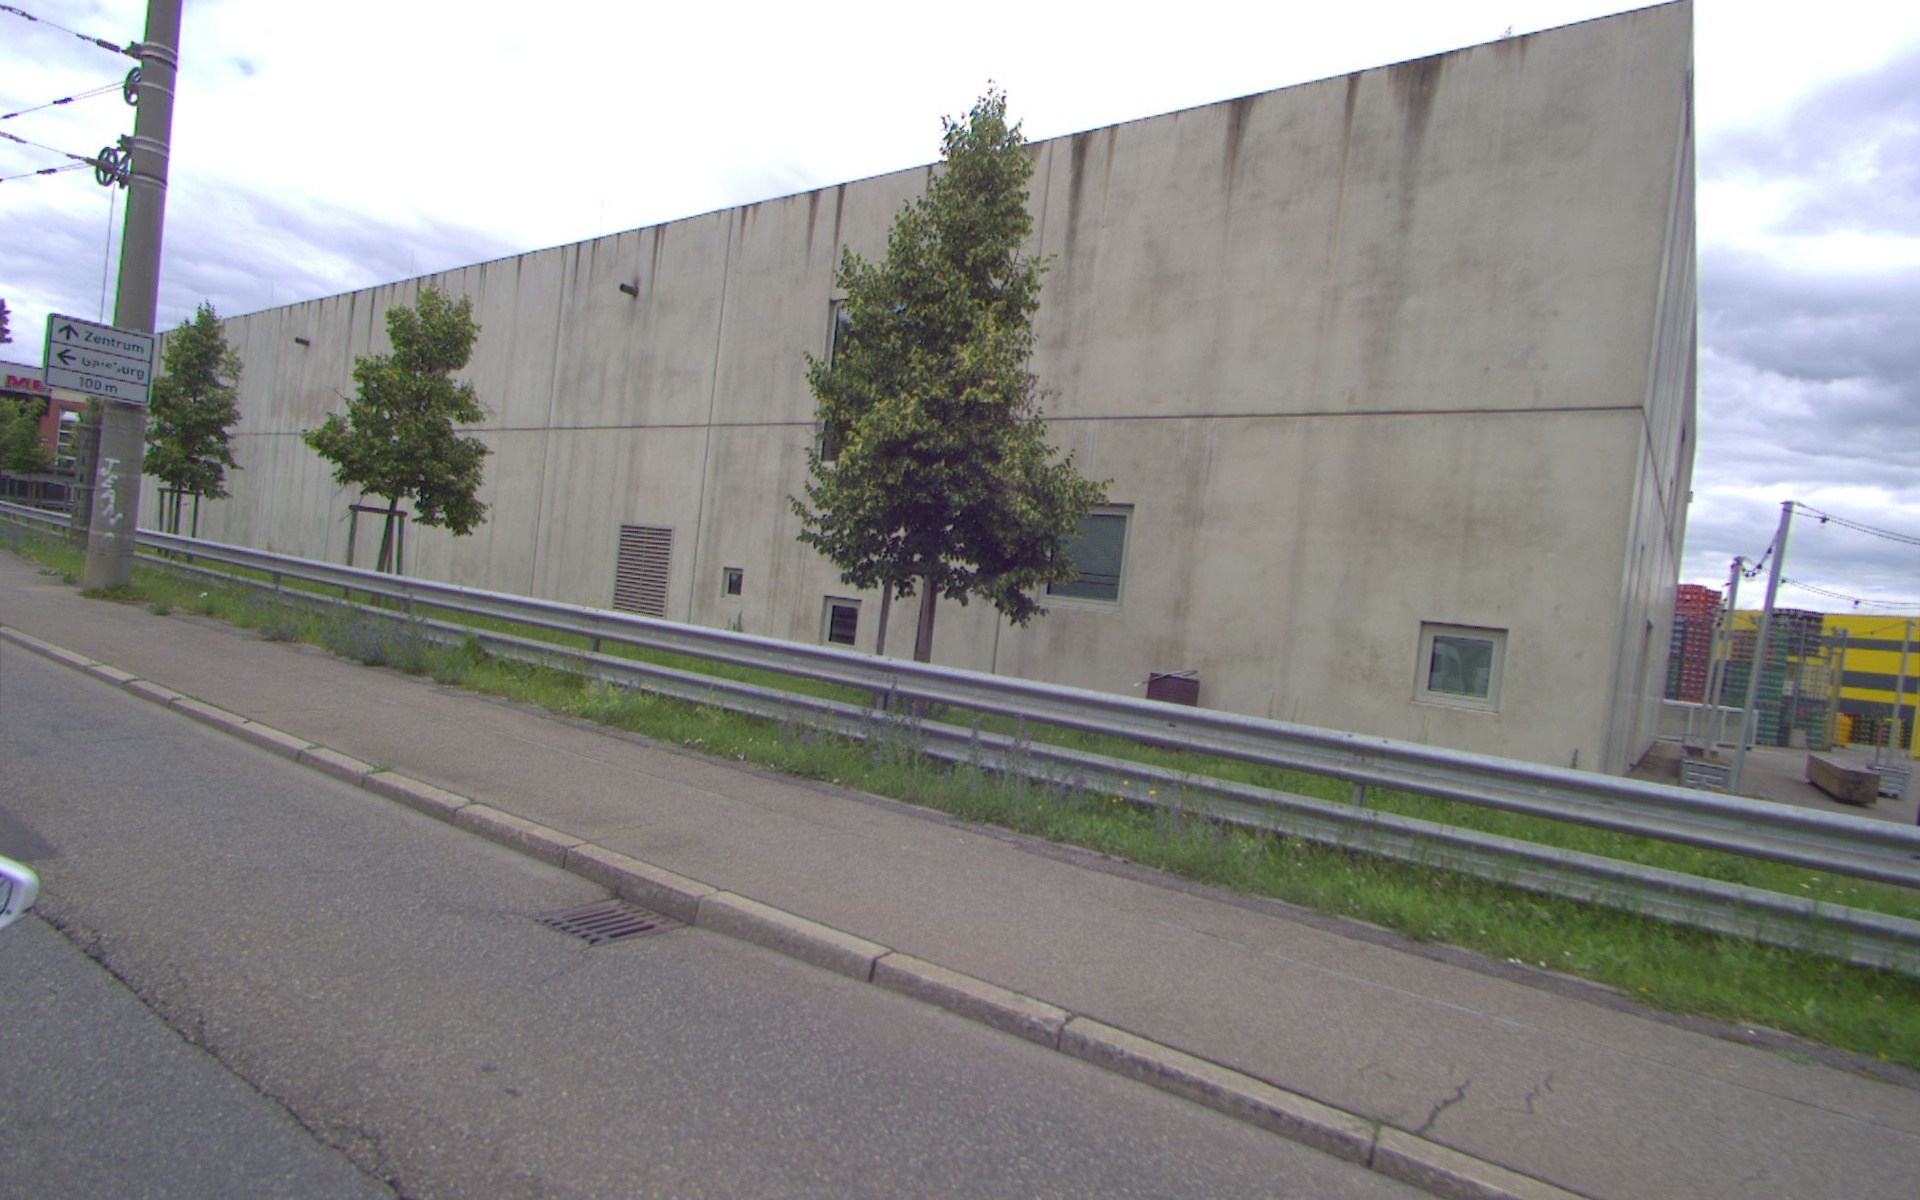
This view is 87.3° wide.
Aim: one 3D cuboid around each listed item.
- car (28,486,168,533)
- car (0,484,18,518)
[{"bbox_3d":[-40.258,-4.193,47.116,2.120,1.568,4.521,5,0,14],"label":"car"},{"bbox_3d":[-45.035,-4.691,44.704,4.177,1.461,1.754,7,0,-23],"label":"car"}]
